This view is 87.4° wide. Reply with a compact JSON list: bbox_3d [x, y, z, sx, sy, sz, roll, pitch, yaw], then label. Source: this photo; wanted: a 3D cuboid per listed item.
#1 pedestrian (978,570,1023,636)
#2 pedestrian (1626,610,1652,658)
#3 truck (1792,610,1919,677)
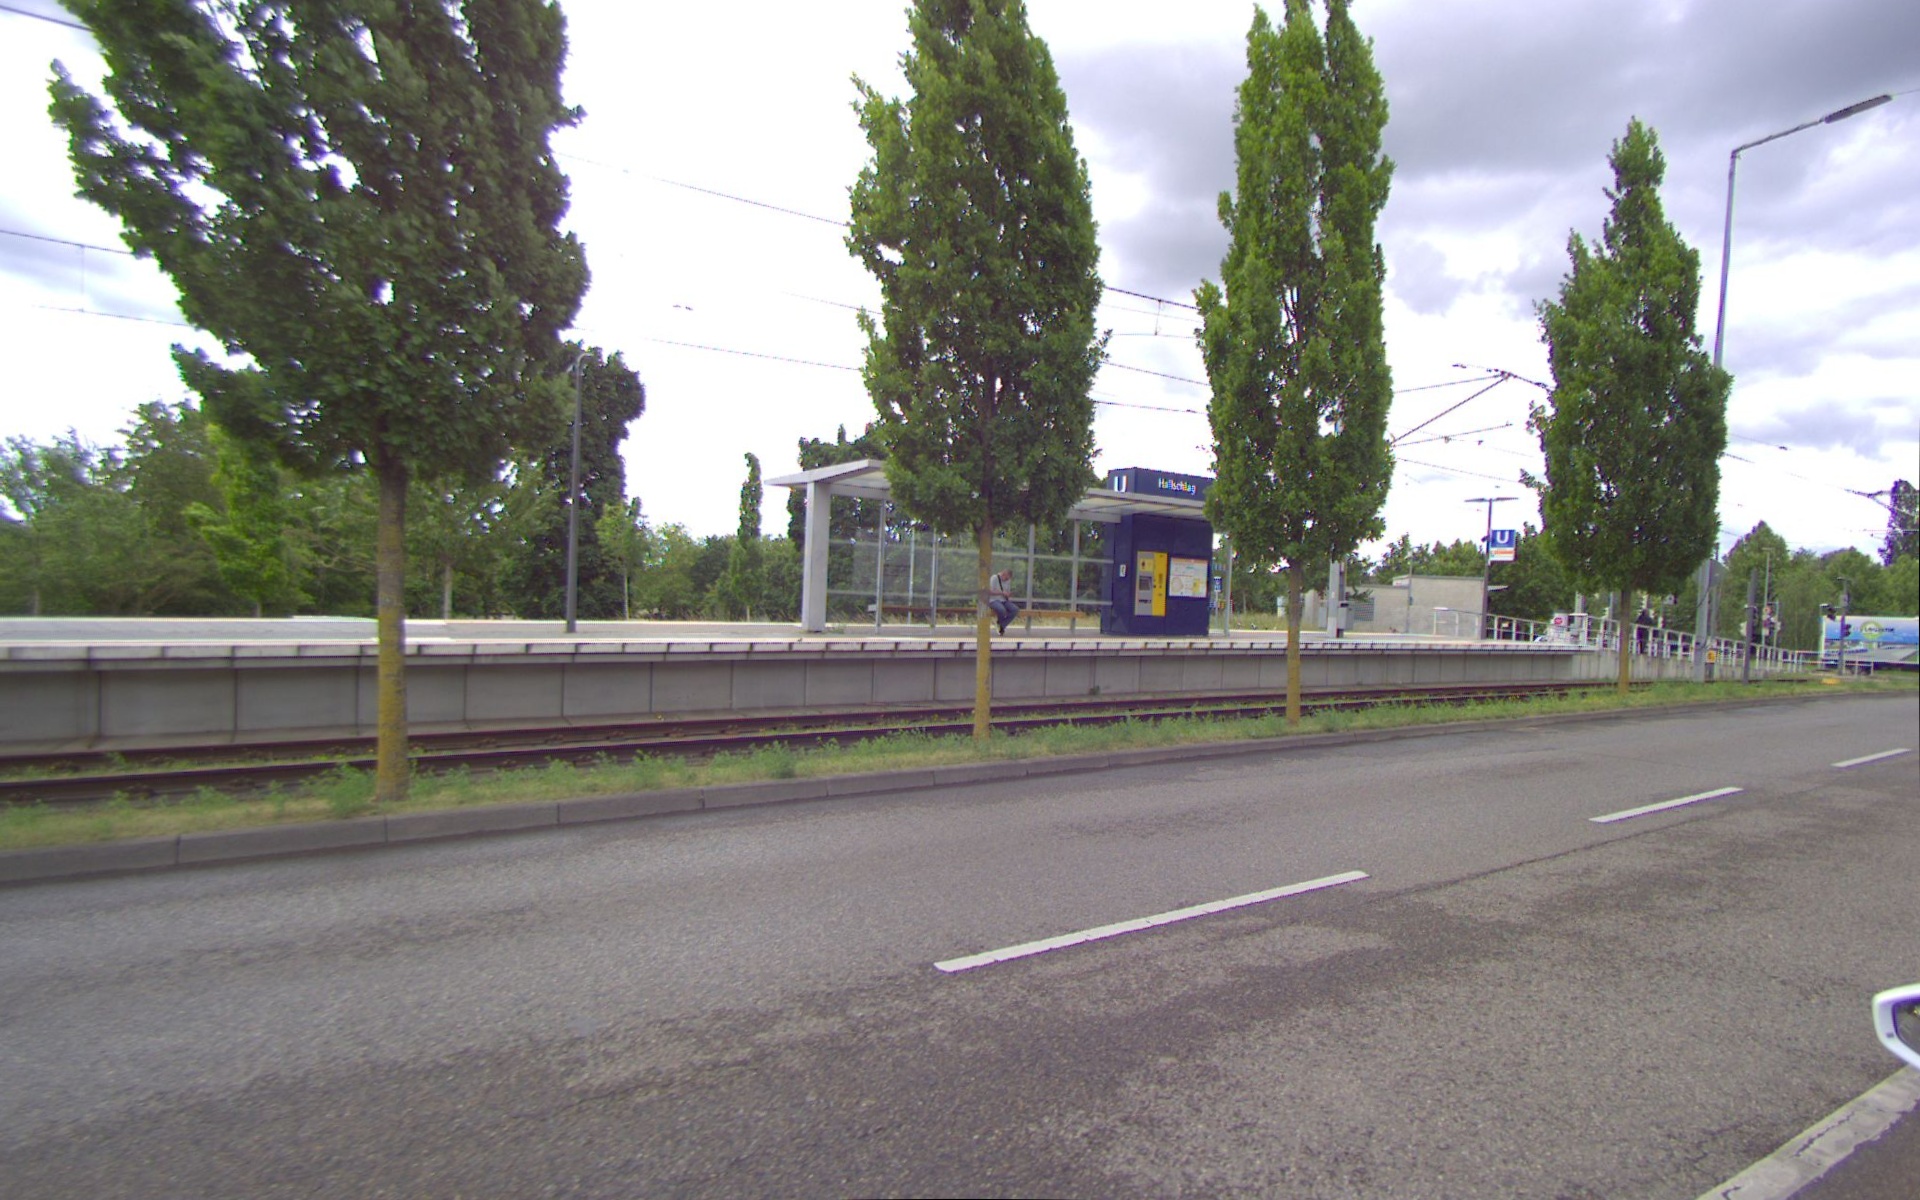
[{"bbox_3d":[0.816,0.057,20.021,0.653,1.286,0.606,-1,1,-36],"label":"pedestrian"},{"bbox_3d":[26.452,1.331,39.127,0.785,1.852,0.568,2,0,-34],"label":"pedestrian"},{"bbox_3d":[53.444,2.476,58.580,2.666,3.647,7.187,-1,1,-37],"label":"truck"}]
